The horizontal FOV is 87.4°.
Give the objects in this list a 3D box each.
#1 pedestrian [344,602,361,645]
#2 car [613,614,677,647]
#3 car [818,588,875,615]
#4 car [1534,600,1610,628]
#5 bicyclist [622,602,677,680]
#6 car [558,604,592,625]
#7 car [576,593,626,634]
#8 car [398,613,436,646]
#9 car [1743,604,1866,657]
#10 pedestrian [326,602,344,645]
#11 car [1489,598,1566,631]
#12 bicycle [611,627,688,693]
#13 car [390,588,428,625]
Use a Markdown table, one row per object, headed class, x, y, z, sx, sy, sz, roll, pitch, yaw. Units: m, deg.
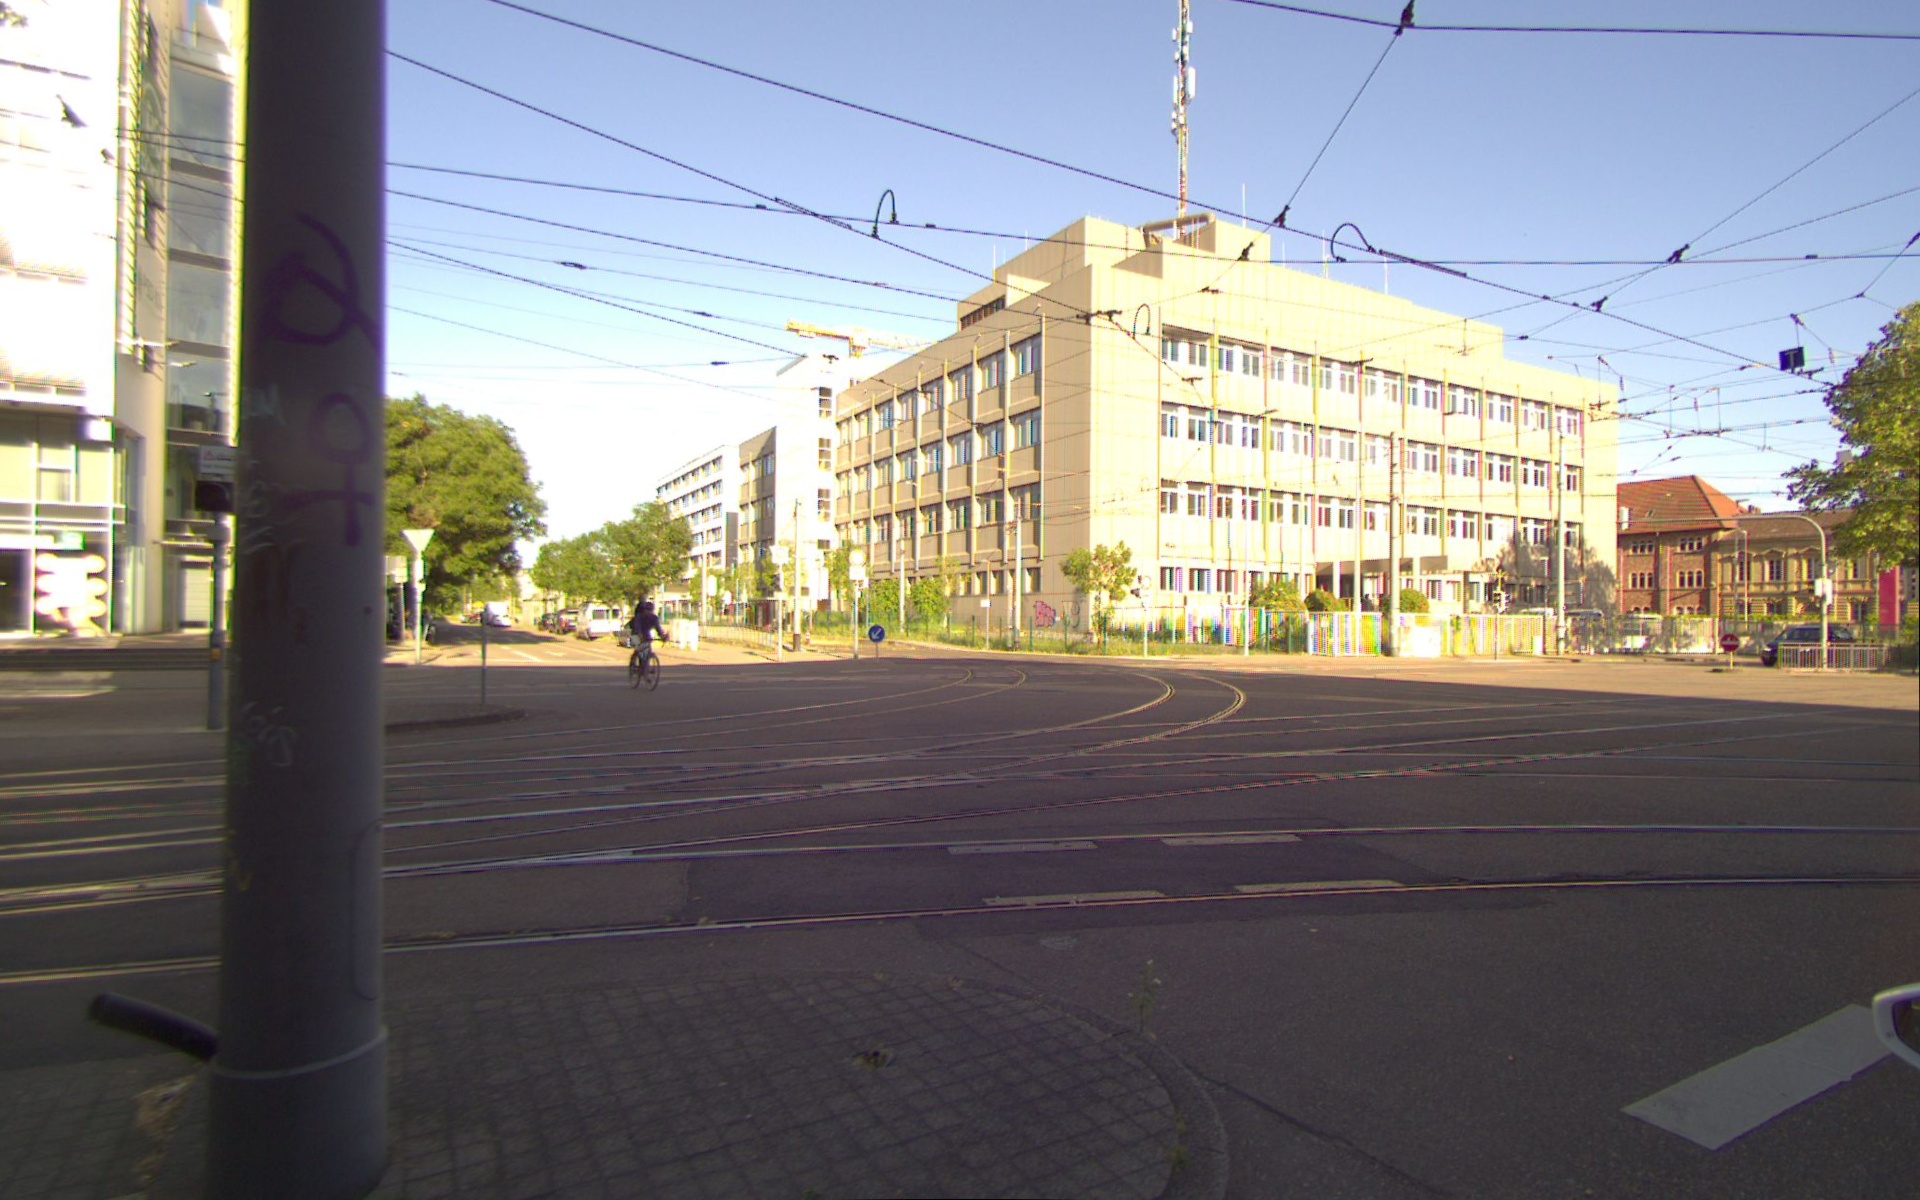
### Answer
| class | x | y | z | sx | sy | sz | roll | pitch | yaw |
| --- | --- | --- | --- | --- | --- | --- | --- | --- | --- |
| pedestrian | -29.556 | 1.141 | 48.893 | 0.631 | 2.040 | 0.623 | 0 | 0 | -26 |
| car | -16.706 | 1.581 | 53.152 | 2.088 | 1.720 | 3.931 | 1 | -1 | -36 |
| car | -8.836 | 0.153 | 78.354 | 3.953 | 2.040 | 1.984 | 0 | 0 | -30 |
| car | 37.882 | 0.875 | 62.211 | 4.318 | 1.726 | 1.988 | 0 | -1 | -25 |
| bicyclist | -6.240 | 0.802 | 20.185 | 0.870 | 1.514 | 0.719 | 0 | 0 | 44 |
| car | -29.388 | 1.099 | 76.565 | 1.734 | 1.579 | 3.916 | 1 | -1 | -32 |
| car | -23.188 | 0.867 | 64.744 | 2.158 | 2.539 | 4.363 | 1 | -1 | -32 |
| car | -29.038 | 1.558 | 53.678 | 1.715 | 1.675 | 3.922 | 1 | -1 | -30 |
| car | 33.238 | 1.161 | 39.555 | 4.361 | 1.974 | 1.989 | 0 | 0 | -23 |
| pedestrian | -30.273 | 1.129 | 48.655 | 0.631 | 2.040 | 0.623 | 0 | 0 | -26 |
| car | 36.611 | 0.921 | 64.767 | 4.660 | 2.040 | 1.988 | 0 | -1 | -25 |
| bicycle | -6.271 | 1.179 | 20.224 | 2.015 | 1.205 | 0.587 | 0 | 0 | 45 |
| car | -40.984 | 0.482 | 74.648 | 2.207 | 2.690 | 5.085 | 1 | -1 | -32 |
